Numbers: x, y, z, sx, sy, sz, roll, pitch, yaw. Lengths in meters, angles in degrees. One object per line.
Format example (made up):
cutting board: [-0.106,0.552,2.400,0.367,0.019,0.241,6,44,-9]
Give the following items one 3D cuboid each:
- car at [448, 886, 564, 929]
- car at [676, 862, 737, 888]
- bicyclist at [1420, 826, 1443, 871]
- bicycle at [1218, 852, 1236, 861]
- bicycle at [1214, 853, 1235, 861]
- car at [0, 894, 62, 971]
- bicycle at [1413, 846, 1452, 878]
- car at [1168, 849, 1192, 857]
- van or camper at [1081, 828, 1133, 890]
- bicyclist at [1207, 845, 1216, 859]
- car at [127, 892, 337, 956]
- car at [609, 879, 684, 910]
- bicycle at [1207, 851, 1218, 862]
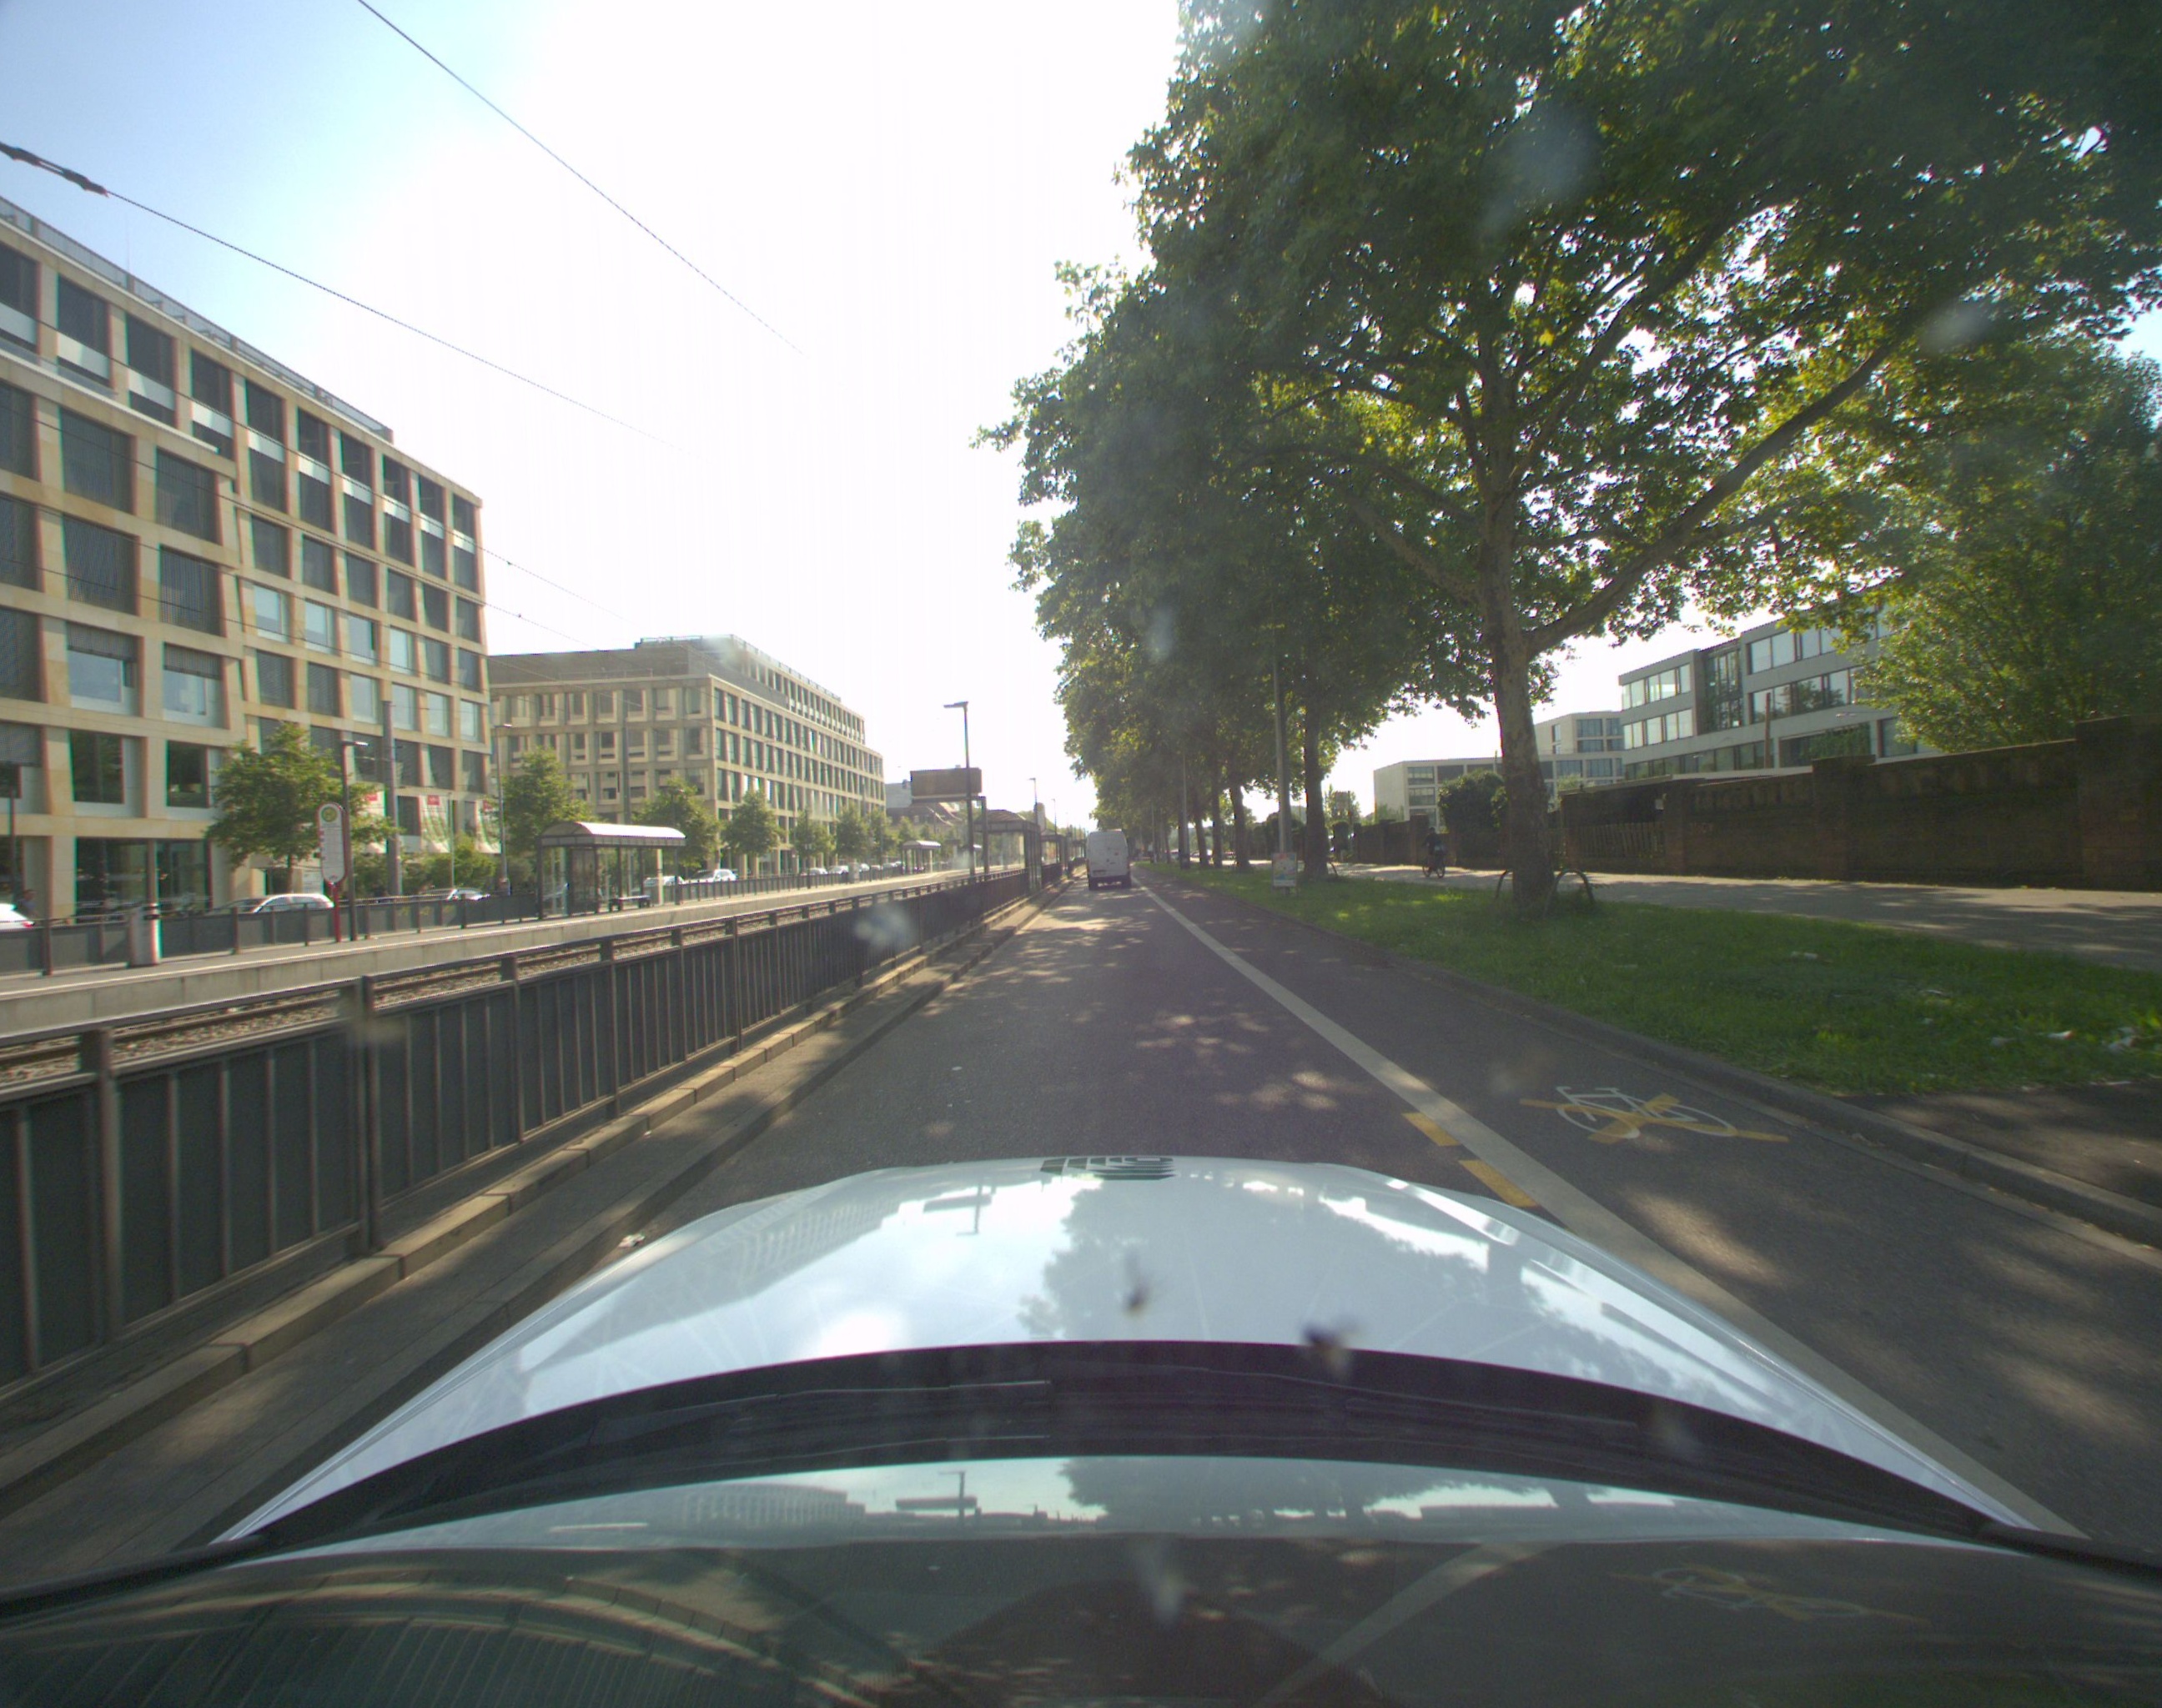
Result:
car: [-24.088,2.196,34.342,1.678,1.407,4.373,-3,0,1]
car: [-23.581,1.296,51.456,1.678,1.407,4.371,-3,0,1]
bicyclist: [12.411,-0.191,28.828,0.468,1.539,0.596,-3,0,-2]
bicycle: [17.031,0.295,94.951,1.925,0.847,0.372,-3,0,1]
bicycle: [16.239,0.352,92.168,2.172,0.847,0.503,-3,0,1]
car: [-24.608,1.798,16.764,1.784,1.625,4.318,-3,0,-1]
bicycle: [12.423,0.267,28.832,0.490,1.089,1.856,-3,0,-1]
car: [17.652,-0.122,145.238,3.972,1.376,2.000,-1,-1,1]
van or camper: [1.133,0.218,38.471,2.109,2.682,5.247,-1,0,-1]
bicyclist: [12.164,-0.176,75.747,0.667,1.276,0.728,-3,0,0]
car: [-24.303,1.960,23.564,1.783,1.407,4.000,-3,0,1]
car: [-23.771,2.201,44.720,1.678,1.407,4.373,-3,0,1]
bicycle: [12.206,0.215,75.676,0.679,1.005,2.218,-3,0,1]
